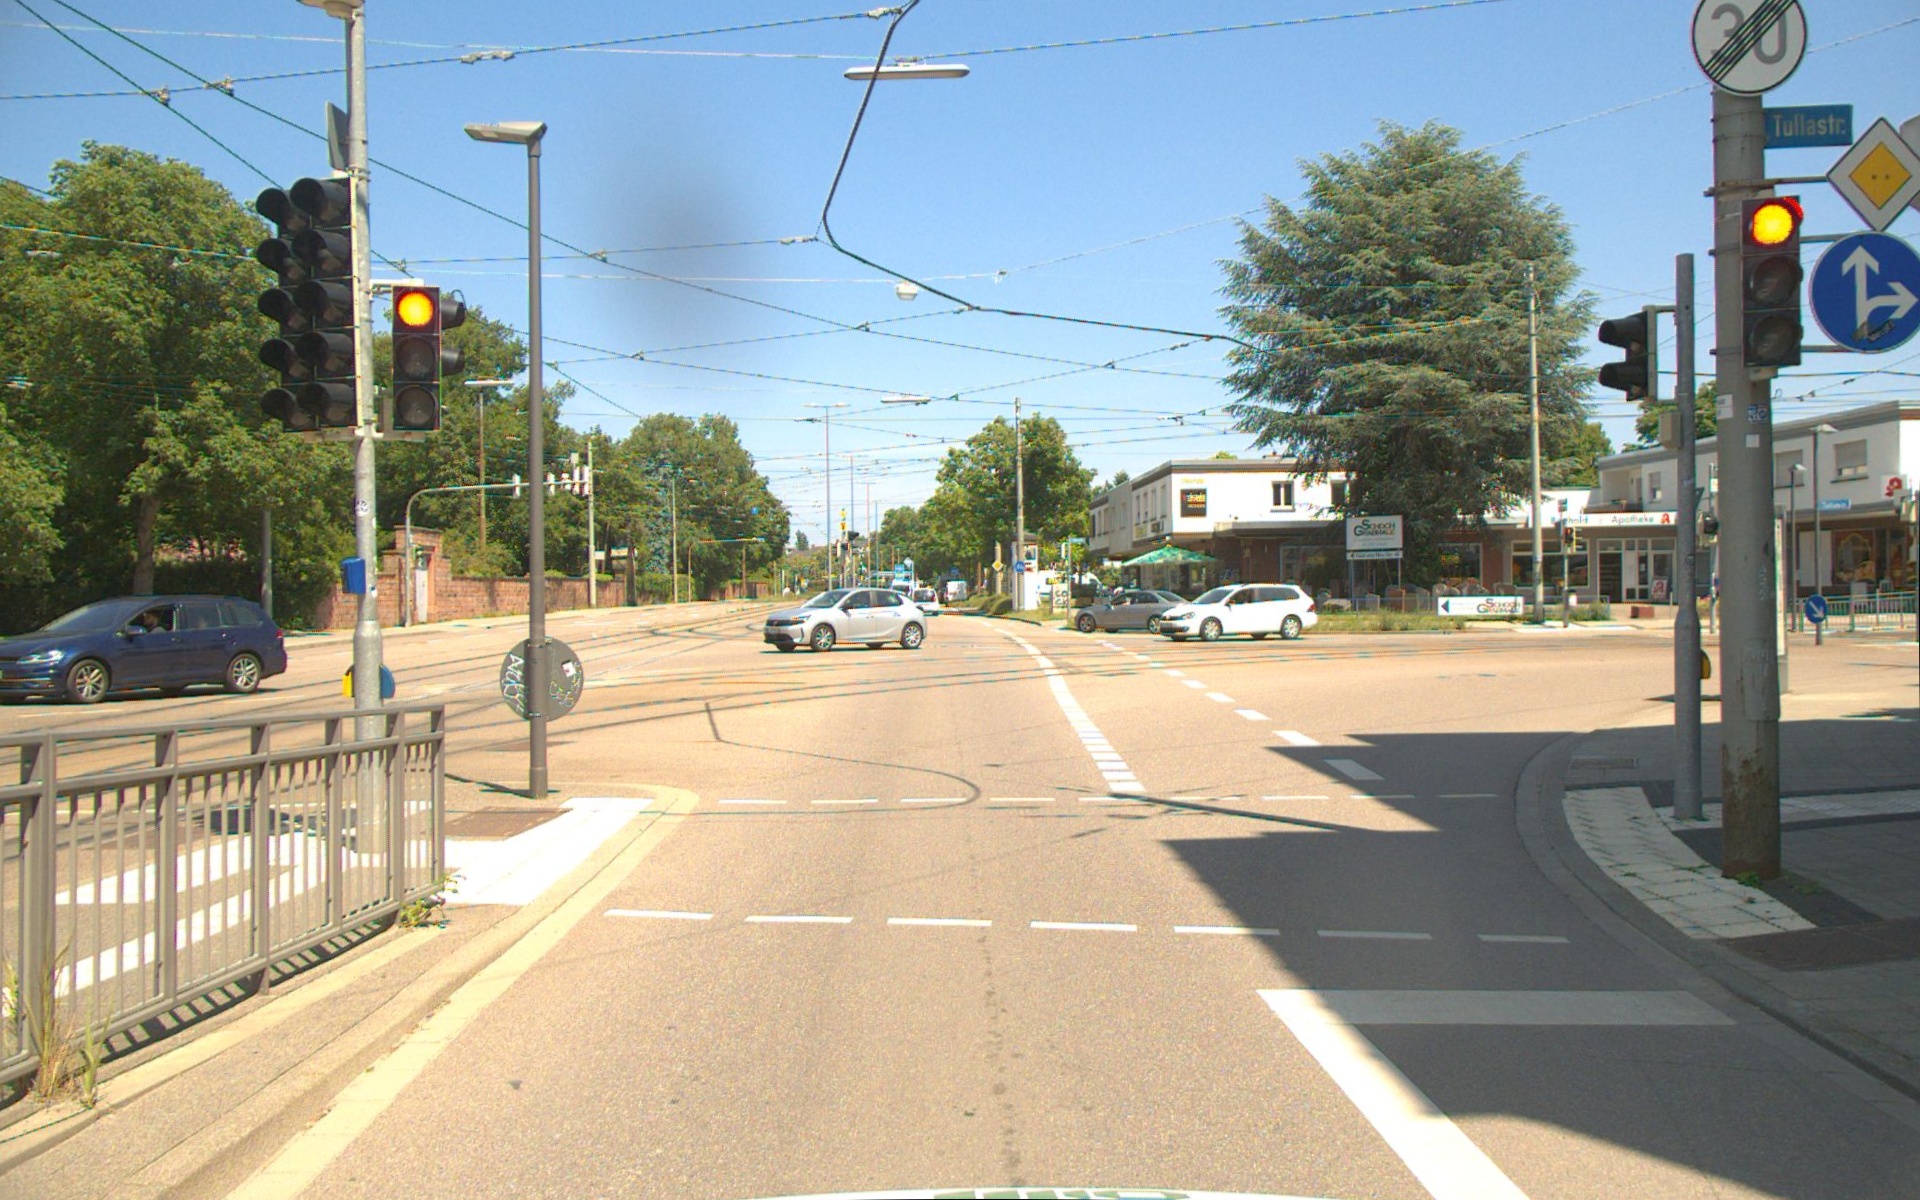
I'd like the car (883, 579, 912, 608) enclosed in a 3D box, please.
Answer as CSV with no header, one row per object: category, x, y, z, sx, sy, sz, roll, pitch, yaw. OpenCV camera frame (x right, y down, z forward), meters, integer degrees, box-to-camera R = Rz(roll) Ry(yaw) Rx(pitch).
car,-4.342,-0.449,114.266,1.954,1.892,3.997,-1,0,-3

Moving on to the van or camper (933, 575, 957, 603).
van or camper,-1.392,-1.035,152.837,1.954,2.507,3.997,-1,0,-4

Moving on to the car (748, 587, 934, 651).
car,-2.742,0.414,38.459,4.009,1.386,1.799,-1,0,-38

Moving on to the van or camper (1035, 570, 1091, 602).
van or camper,8.933,-1.239,143.552,4.662,2.717,2.134,-1,0,-3

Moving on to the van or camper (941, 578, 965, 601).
van or camper,-0.573,-0.847,130.380,1.883,1.803,3.999,-1,0,-1

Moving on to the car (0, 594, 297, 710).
car,-12.043,0.679,23.980,1.819,1.467,4.475,-1,0,25

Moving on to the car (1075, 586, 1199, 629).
car,5.857,0.246,54.933,3.761,1.375,1.637,0,0,33

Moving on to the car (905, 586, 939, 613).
car,-2.117,-0.044,91.468,1.638,1.460,3.471,-1,0,-5

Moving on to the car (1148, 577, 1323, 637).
car,7.401,0.158,44.416,4.426,1.516,1.810,-1,0,-25

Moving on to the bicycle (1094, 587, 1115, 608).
bicycle,7.389,-0.136,84.621,1.012,1.032,2.639,-1,0,5
